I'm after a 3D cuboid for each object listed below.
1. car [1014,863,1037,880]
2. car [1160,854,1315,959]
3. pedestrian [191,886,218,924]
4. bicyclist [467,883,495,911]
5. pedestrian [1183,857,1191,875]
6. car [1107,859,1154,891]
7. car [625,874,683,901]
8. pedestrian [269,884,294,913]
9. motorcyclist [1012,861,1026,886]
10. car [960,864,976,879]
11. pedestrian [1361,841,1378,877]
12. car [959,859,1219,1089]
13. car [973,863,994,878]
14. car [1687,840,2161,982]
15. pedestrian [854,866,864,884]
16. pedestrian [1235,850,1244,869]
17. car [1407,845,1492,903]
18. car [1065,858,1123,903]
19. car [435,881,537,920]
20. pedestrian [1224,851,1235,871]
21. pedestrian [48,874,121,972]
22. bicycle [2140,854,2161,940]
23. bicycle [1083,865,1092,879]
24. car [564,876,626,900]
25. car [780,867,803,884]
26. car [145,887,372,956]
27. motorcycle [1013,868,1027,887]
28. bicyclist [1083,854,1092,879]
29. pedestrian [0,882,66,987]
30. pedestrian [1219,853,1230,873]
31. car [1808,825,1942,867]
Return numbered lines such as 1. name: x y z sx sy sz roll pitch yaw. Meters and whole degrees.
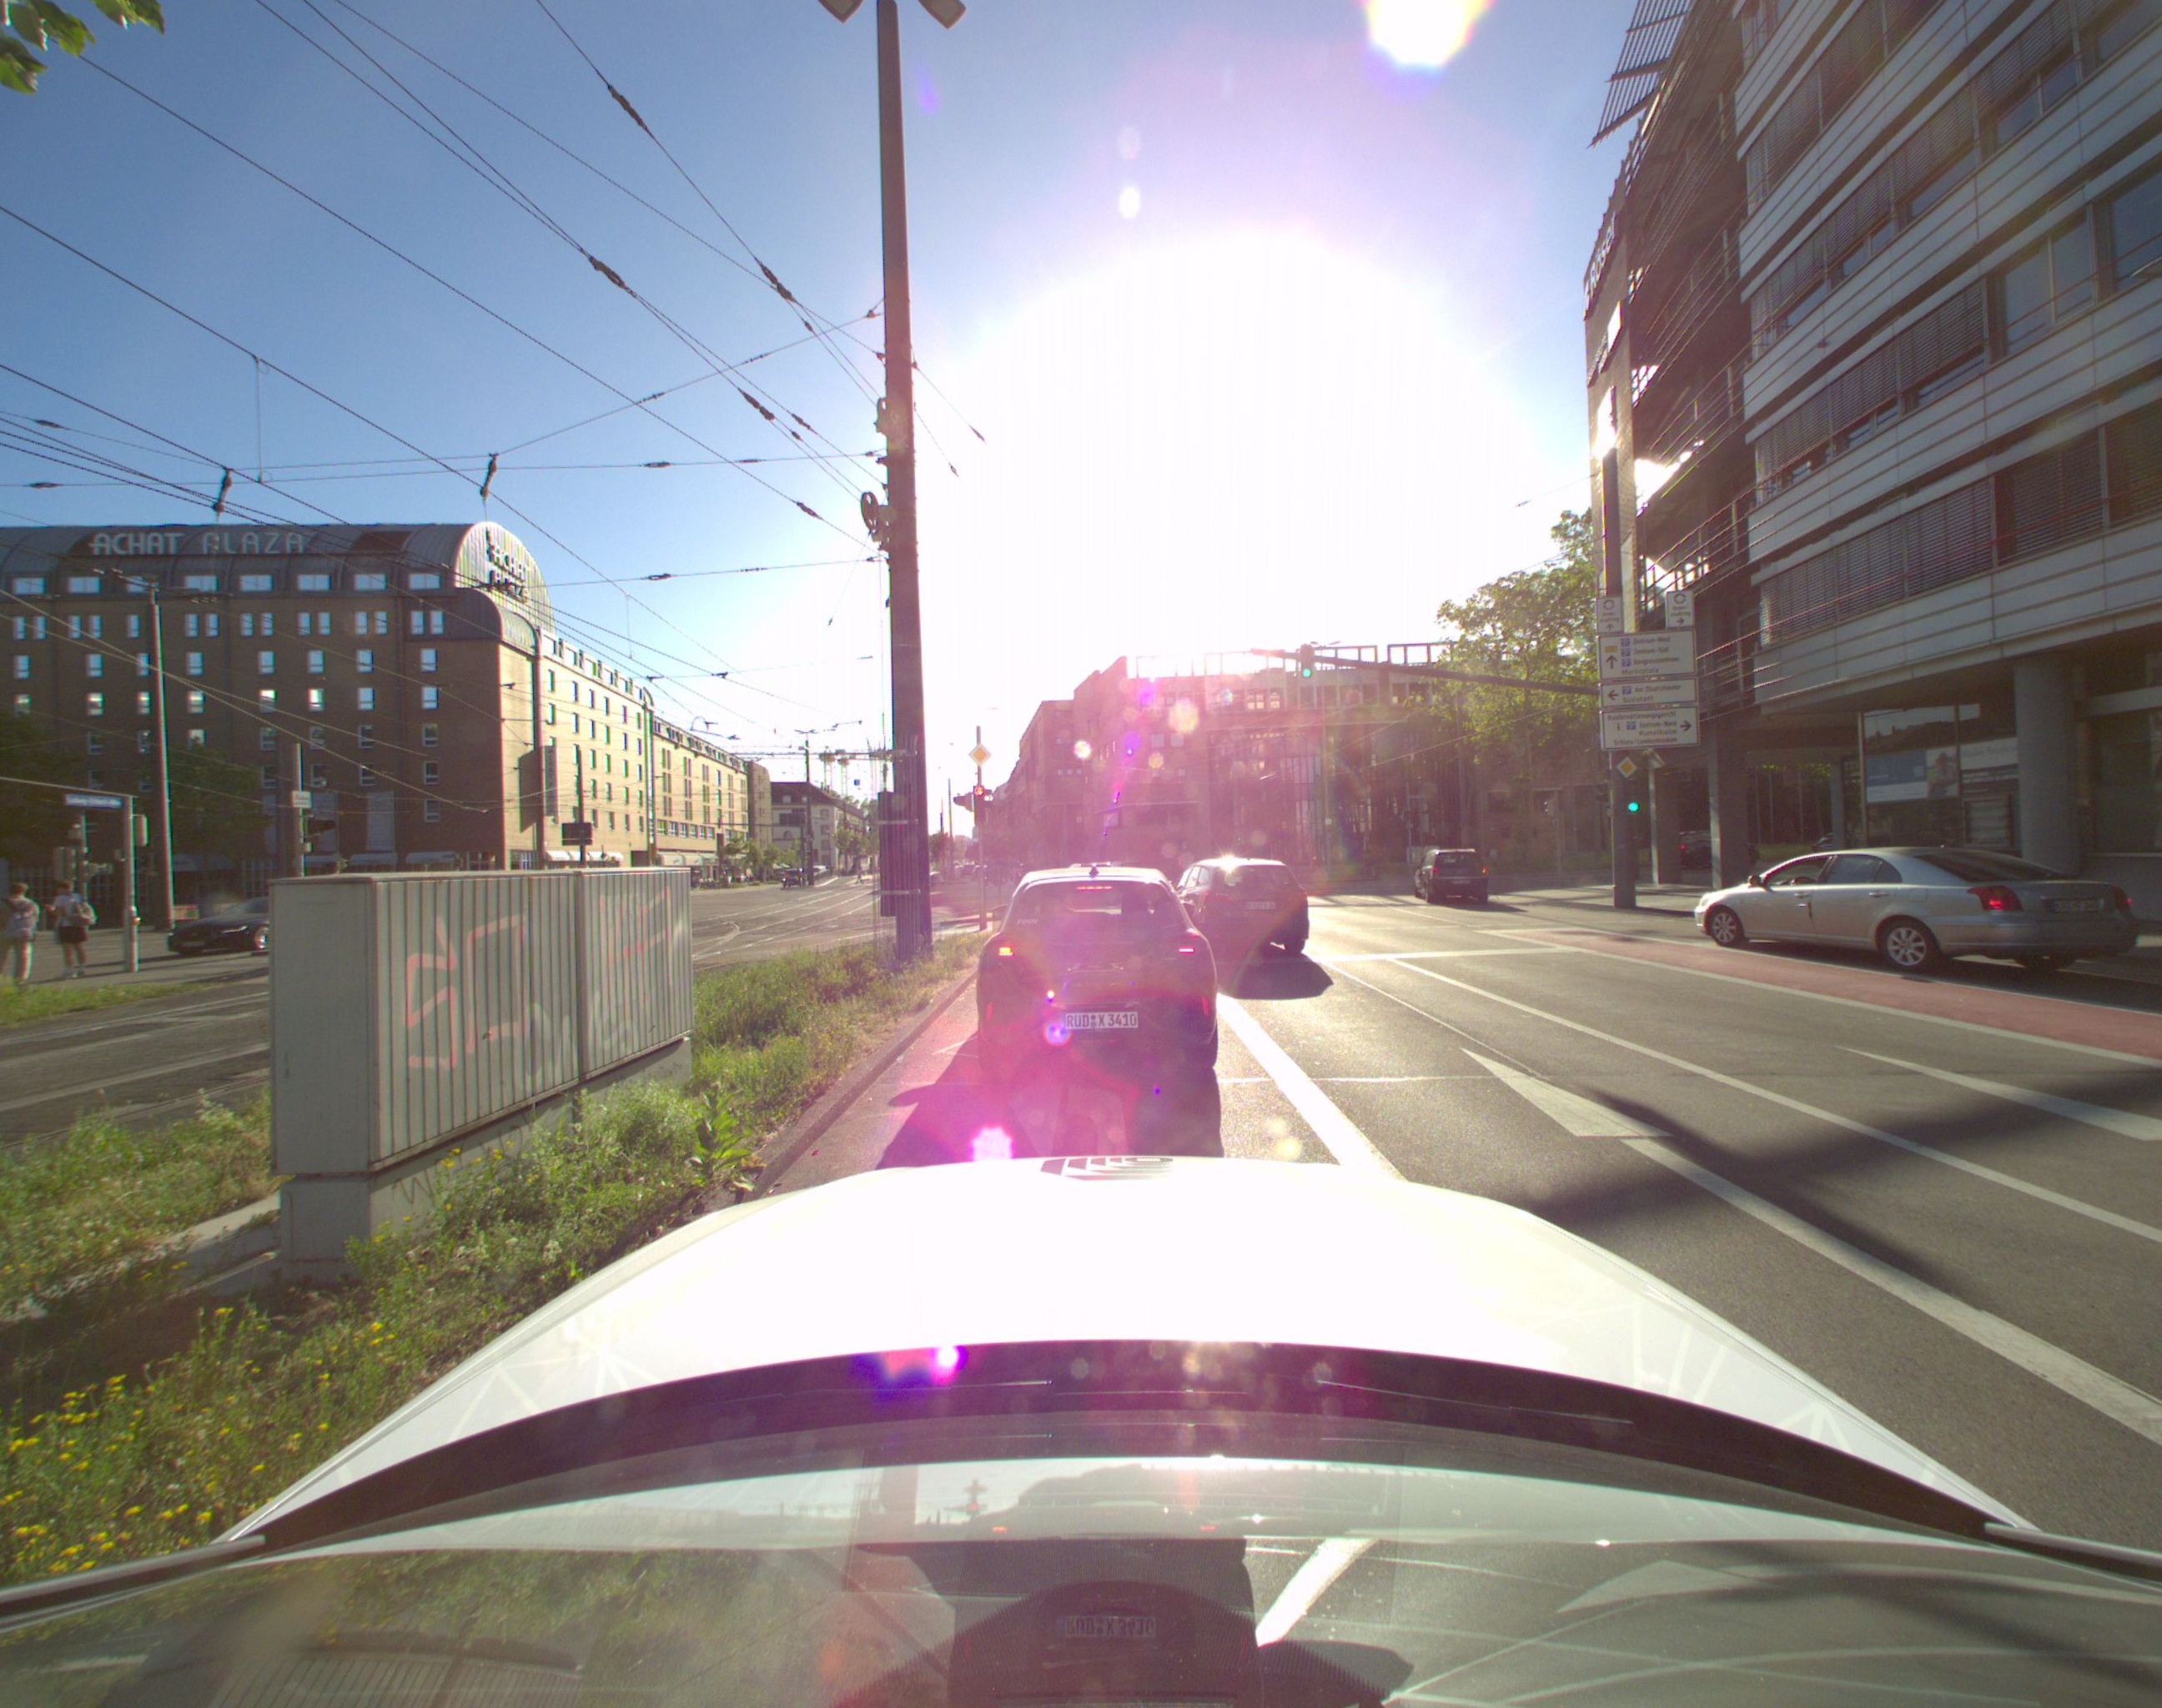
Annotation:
1. car: -4.878 1.502 70.821 1.805 1.457 3.991 -1 0 -6
2. car: 2.434 0.744 13.681 1.681 1.433 4.151 -2 0 -1
3. pedestrian: -46.814 2.715 43.511 0.663 2.013 0.678 -2 0 3
4. bicyclist: -31.098 2.234 42.230 0.756 1.375 0.949 -2 0 -6
5. pedestrian: 8.714 0.978 66.741 0.527 1.430 0.598 -2 0 1
6. car: 2.444 1.012 40.951 1.804 1.457 3.994 -1 0 -4
7. car: -26.050 2.000 49.830 1.569 1.449 3.996 -2 0 -3
8. pedestrian: -43.473 2.408 44.269 0.674 1.503 0.659 -2 0 -1
9. motorcyclist: -3.936 1.231 51.553 0.744 1.530 1.018 -2 0 -8
10. car: -13.388 2.045 96.395 1.737 1.651 3.987 -2 0 -9
11. pedestrian: 14.673 0.255 41.377 0.700 1.759 0.564 -2 -1 27
12. car: 0.157 0.792 7.264 1.642 1.433 4.003 -2 0 3
13. car: -9.291 1.575 77.586 1.737 1.349 3.986 -2 0 -10
14. car: 10.574 0.609 10.798 1.745 1.431 4.488 -2 0 0
15. pedestrian: -20.240 1.896 74.278 0.768 1.640 0.739 -2 0 -22
16. pedestrian: 13.382 0.446 68.689 0.733 1.617 0.562 -2 0 10
17. car: 11.645 0.586 25.997 1.676 1.629 4.480 -2 0 14
18. car: 0.410 0.929 30.348 1.807 1.492 4.490 2 -1 -4
19. car: -26.929 2.073 37.038 1.719 1.422 4.139 -4 0 -4
20. pedestrian: 12.306 0.600 67.449 0.894 1.617 0.562 -2 0 10
21. pedestrian: -19.220 1.315 15.720 0.562 1.817 0.662 -2 0 -5
22. bicycle: 13.414 0.512 8.944 0.498 1.032 2.200 -2 0 -8
23. bicycle: 0.468 1.332 59.922 0.490 0.997 2.326 -2 0 -2
24. car: -35.194 2.447 59.051 1.745 1.550 4.007 -2 0 6
25. car: -28.178 2.045 79.345 1.748 1.505 3.860 -2 0 -15
26. car: -22.728 1.776 22.846 1.993 1.596 4.724 -2 -1 -8
27. motorcycle: -3.898 1.494 51.578 0.774 1.115 1.964 -2 0 -7
28. bicyclist: 0.463 0.942 59.929 0.575 1.791 0.863 -2 0 -1
29. pedestrian: -19.185 1.439 14.787 0.630 1.830 0.662 -2 0 -5
30. pedestrian: 12.031 0.774 68.248 0.894 1.617 0.562 -2 0 10
31. car: 32.672 -0.332 33.580 3.981 1.651 1.861 -1 0 -6
